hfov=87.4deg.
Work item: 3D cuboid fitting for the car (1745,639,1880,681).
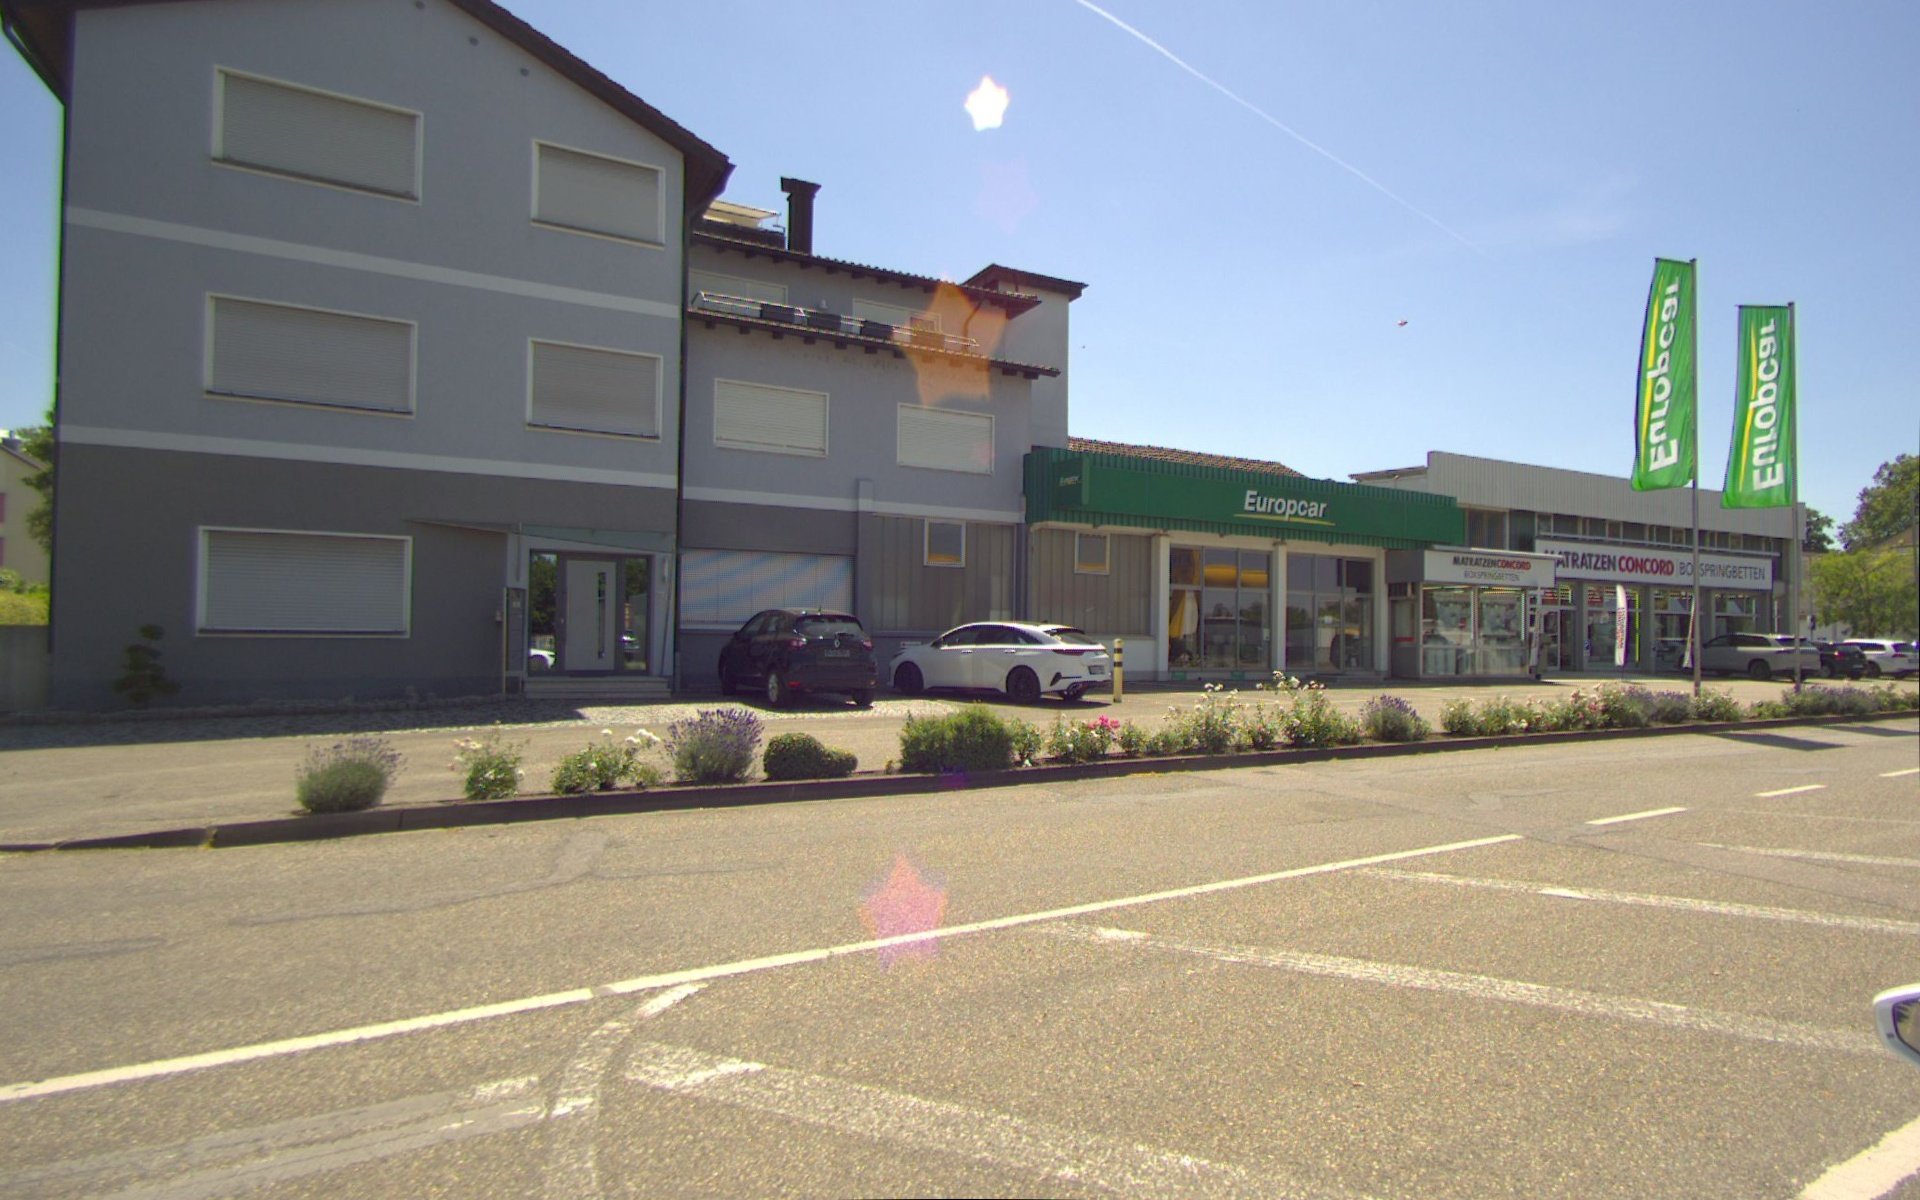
[{"bbox_3d":[33.457,2.343,39.541,1.965,1.494,3.631,1,-1,-11],"label":"car"}]

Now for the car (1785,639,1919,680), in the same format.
[{"bbox_3d":[36.112,2.367,40.444,1.946,1.466,4.187,1,-1,-13],"label":"car"}]

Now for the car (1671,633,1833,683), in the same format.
[{"bbox_3d":[29.146,2.094,37.162,1.965,1.686,4.536,1,-1,-11],"label":"car"}]

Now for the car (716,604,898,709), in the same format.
[{"bbox_3d":[-2.734,0.913,17.310,1.946,1.585,3.543,2,-2,-30],"label":"car"}]

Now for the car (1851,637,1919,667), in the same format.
[{"bbox_3d":[52.876,2.930,56.231,1.751,1.610,4.210,3,-2,-34],"label":"car"}]

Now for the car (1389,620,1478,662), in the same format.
[{"bbox_3d":[31.750,2.764,67.298,5.825,2.662,2.272,2,-1,-28],"label":"car"}]

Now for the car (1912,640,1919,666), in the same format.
[{"bbox_3d":[61.189,3.320,61.189,1.806,1.550,4.293,2,-1,-29],"label":"car"}]

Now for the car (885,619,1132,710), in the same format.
[{"bbox_3d":[0.842,1.126,18.745,4.287,1.458,1.932,0,-2,38],"label":"car"}]

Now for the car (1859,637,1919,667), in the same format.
[{"bbox_3d":[56.932,3.137,60.051,2.089,1.677,4.293,2,-1,-29],"label":"car"}]
